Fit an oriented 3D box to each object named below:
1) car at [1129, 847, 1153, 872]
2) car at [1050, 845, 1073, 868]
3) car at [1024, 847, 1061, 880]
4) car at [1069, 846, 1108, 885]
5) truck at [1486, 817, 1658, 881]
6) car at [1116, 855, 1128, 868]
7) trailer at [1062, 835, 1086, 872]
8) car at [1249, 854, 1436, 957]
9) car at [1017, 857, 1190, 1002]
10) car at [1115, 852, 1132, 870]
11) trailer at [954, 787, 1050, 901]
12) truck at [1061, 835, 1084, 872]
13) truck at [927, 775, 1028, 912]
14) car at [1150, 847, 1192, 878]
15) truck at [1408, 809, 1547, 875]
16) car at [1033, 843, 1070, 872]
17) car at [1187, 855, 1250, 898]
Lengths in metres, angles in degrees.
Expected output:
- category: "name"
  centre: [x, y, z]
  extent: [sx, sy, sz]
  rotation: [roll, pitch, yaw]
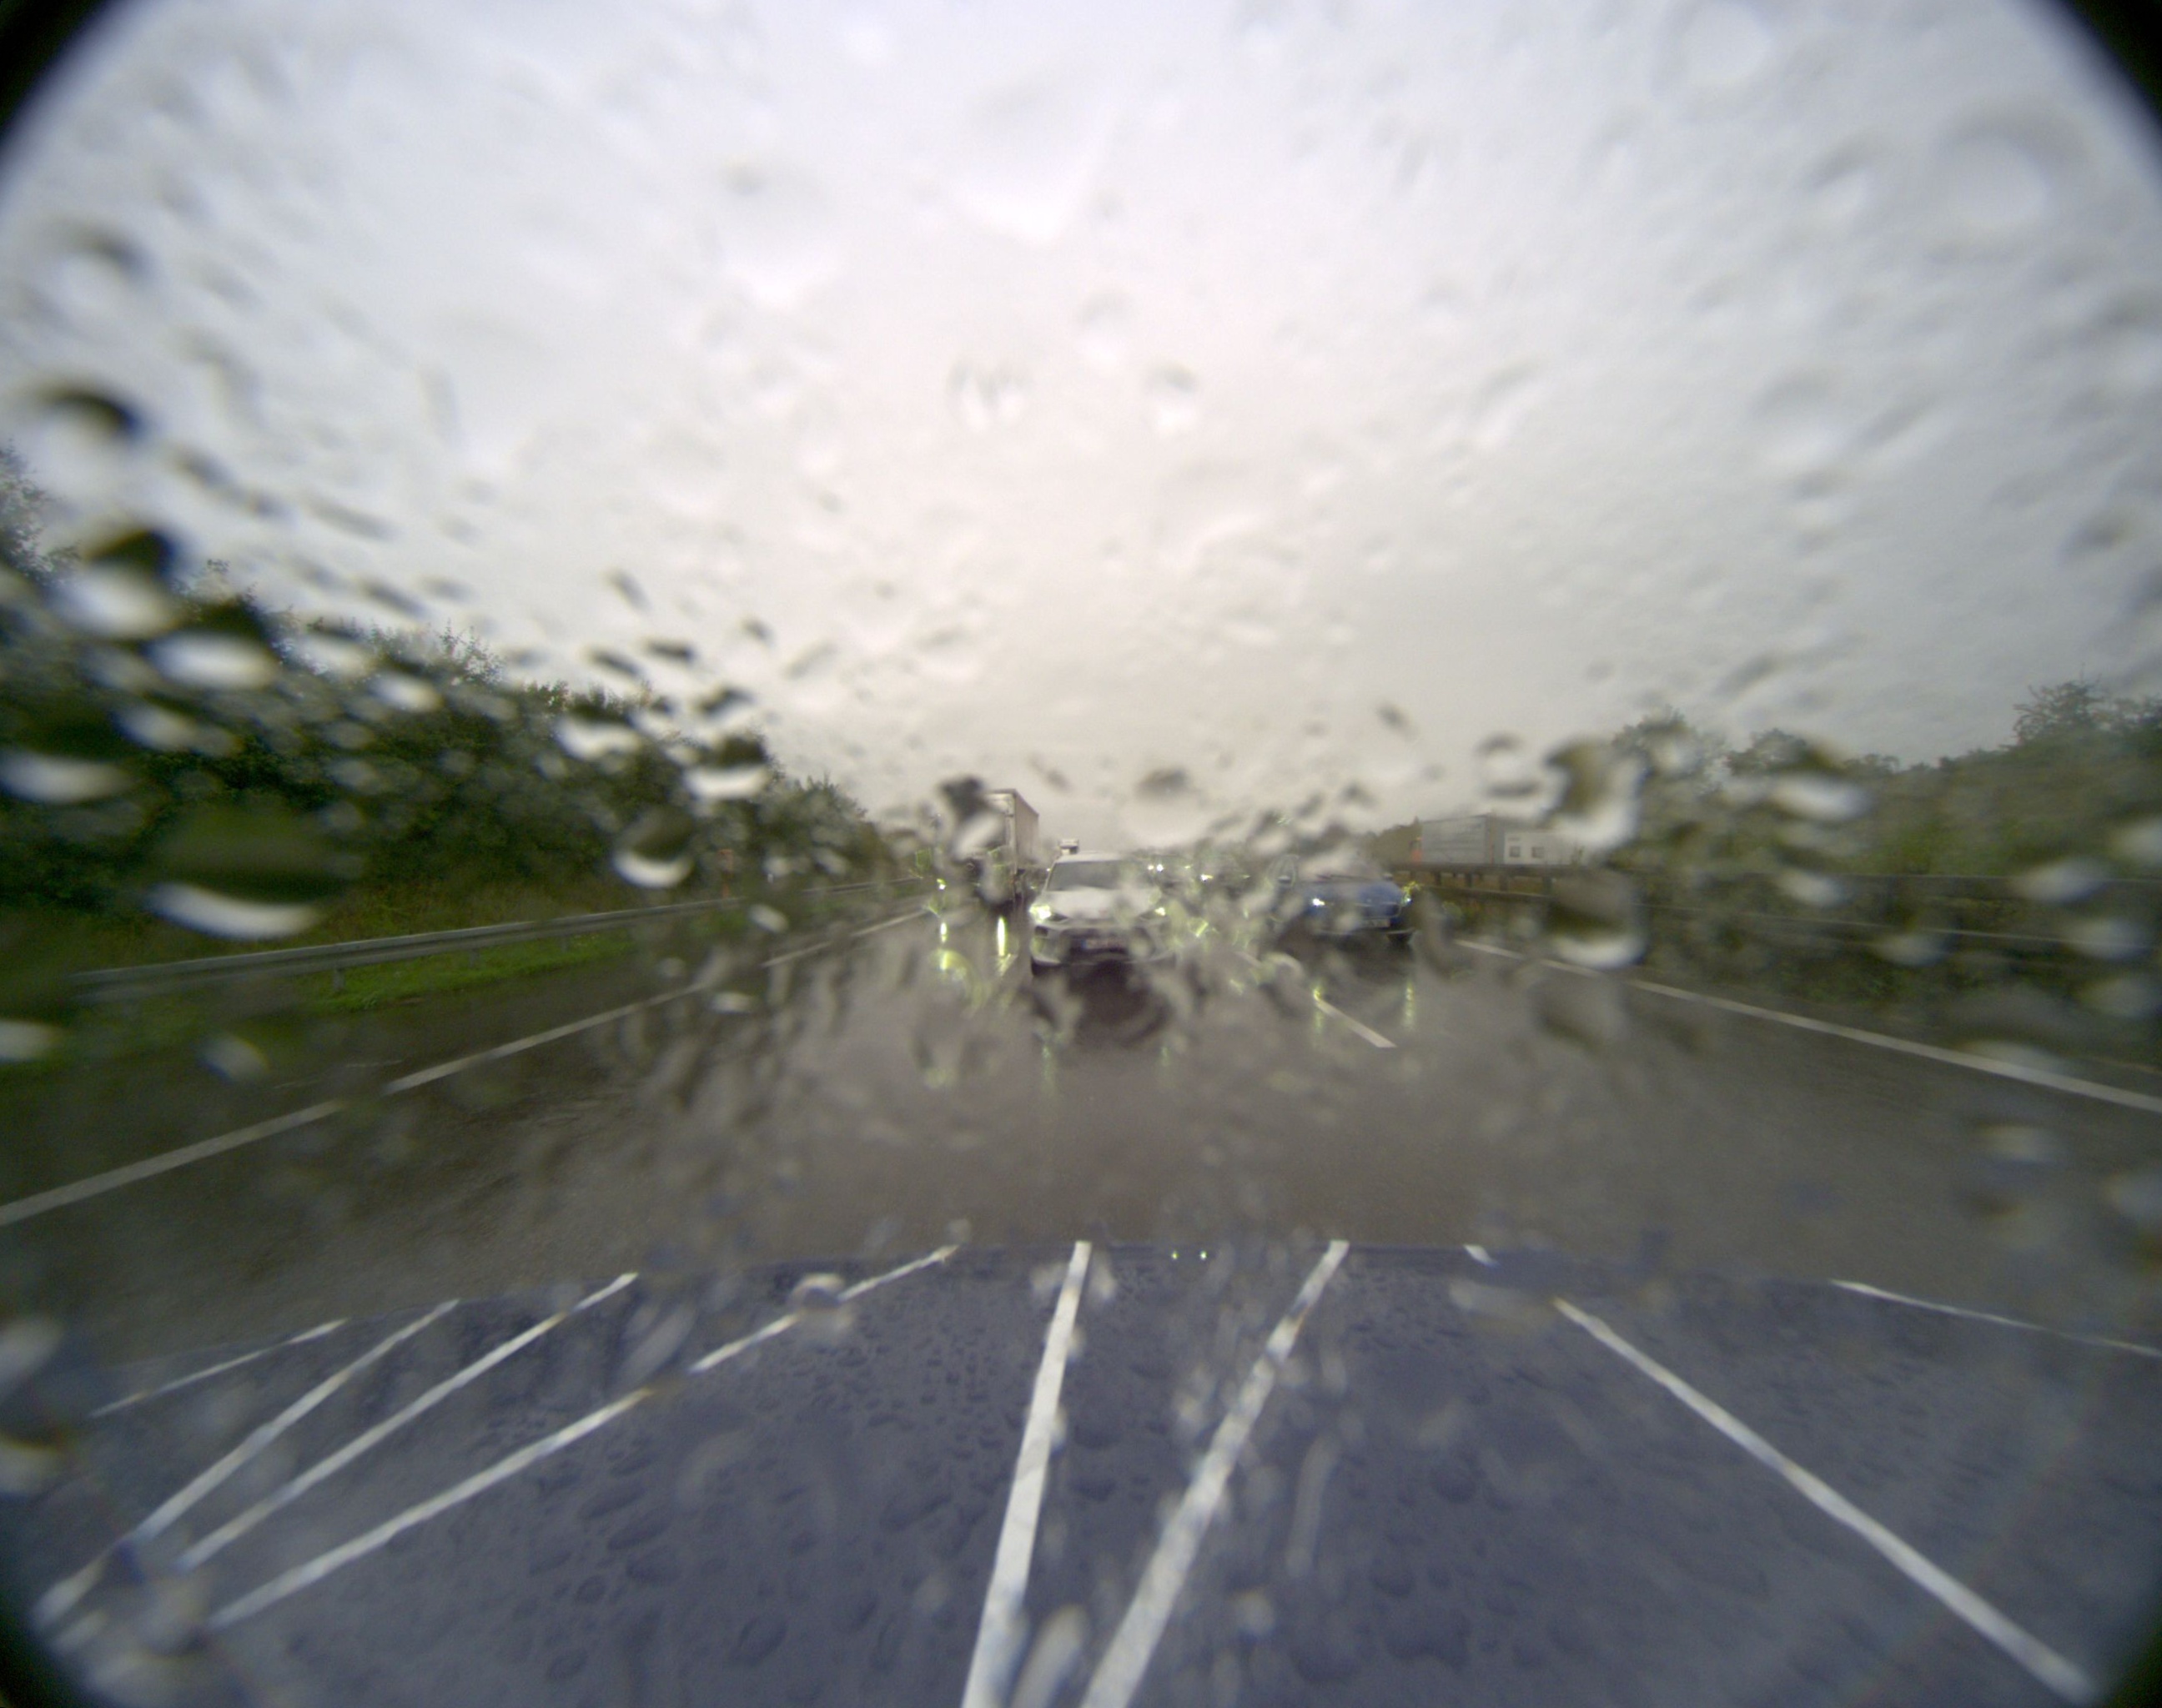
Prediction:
- category: "car"
  centre: [5.103, 0.479, 64.984]
  extent: [1.888, 2.002, 4.270]
  rotation: [-2, 0, 4]
- category: "car"
  centre: [-1.926, 0.235, 76.121]
  extent: [1.998, 2.231, 4.000]
  rotation: [-2, 0, 1]
- category: "car"
  centre: [-2.505, 0.571, 50.312]
  extent: [1.946, 2.002, 4.447]
  rotation: [-2, 1, 3]
- category: "car"
  centre: [0.477, 0.606, 42.680]
  extent: [1.998, 2.002, 4.000]
  rotation: [-2, 0, 2]
- category: "truck"
  centre: [21.883, -0.229, 34.561]
  extent: [2.657, 2.466, 7.891]
  rotation: [-2, 0, 0]
- category: "car"
  centre: [5.288, 0.999, 97.851]
  extent: [1.458, 1.540, 2.804]
  rotation: [0, 2, 1]
- category: "trailer"
  centre: [-0.871, 0.007, 101.834]
  extent: [2.628, 4.635, 9.222]
  rotation: [-2, 0, 1]
- category: "car"
  centre: [4.357, 0.768, 13.465]
  extent: [1.790, 1.467, 4.512]
  rotation: [-2, 0, 1]
- category: "car"
  centre: [0.290, 0.858, 10.528]
  extent: [1.893, 1.578, 4.000]
  rotation: [-2, 0, 1]
- category: "car"
  centre: [4.910, 0.817, 88.857]
  extent: [1.737, 2.002, 4.223]
  rotation: [-2, 0, 1]
- category: "trailer"
  centre: [-3.283, -0.426, 35.791]
  extent: [2.633, 4.224, 14.175]
  rotation: [-2, 0, 1]
- category: "truck"
  centre: [-1.009, -0.037, 96.709]
  extent: [2.628, 4.635, 4.290]
  rotation: [-2, 0, 1]
- category: "truck"
  centre: [-3.458, -0.348, 26.575]
  extent: [2.633, 4.229, 5.043]
  rotation: [-2, 1, 0]
- category: "car"
  centre: [5.007, 0.472, 42.955]
  extent: [1.888, 1.622, 4.269]
  rotation: [-2, 0, 1]
- category: "truck"
  centre: [22.149, -0.587, 43.244]
  extent: [2.933, 3.262, 9.255]
  rotation: [-2, 0, 0]
- category: "car"
  centre: [-2.173, 0.204, 56.926]
  extent: [2.260, 2.002, 4.270]
  rotation: [-2, 1, 4]
- category: "car"
  centre: [5.014, 0.767, 28.212]
  extent: [1.613, 1.428, 4.371]
  rotation: [-2, 0, 1]
